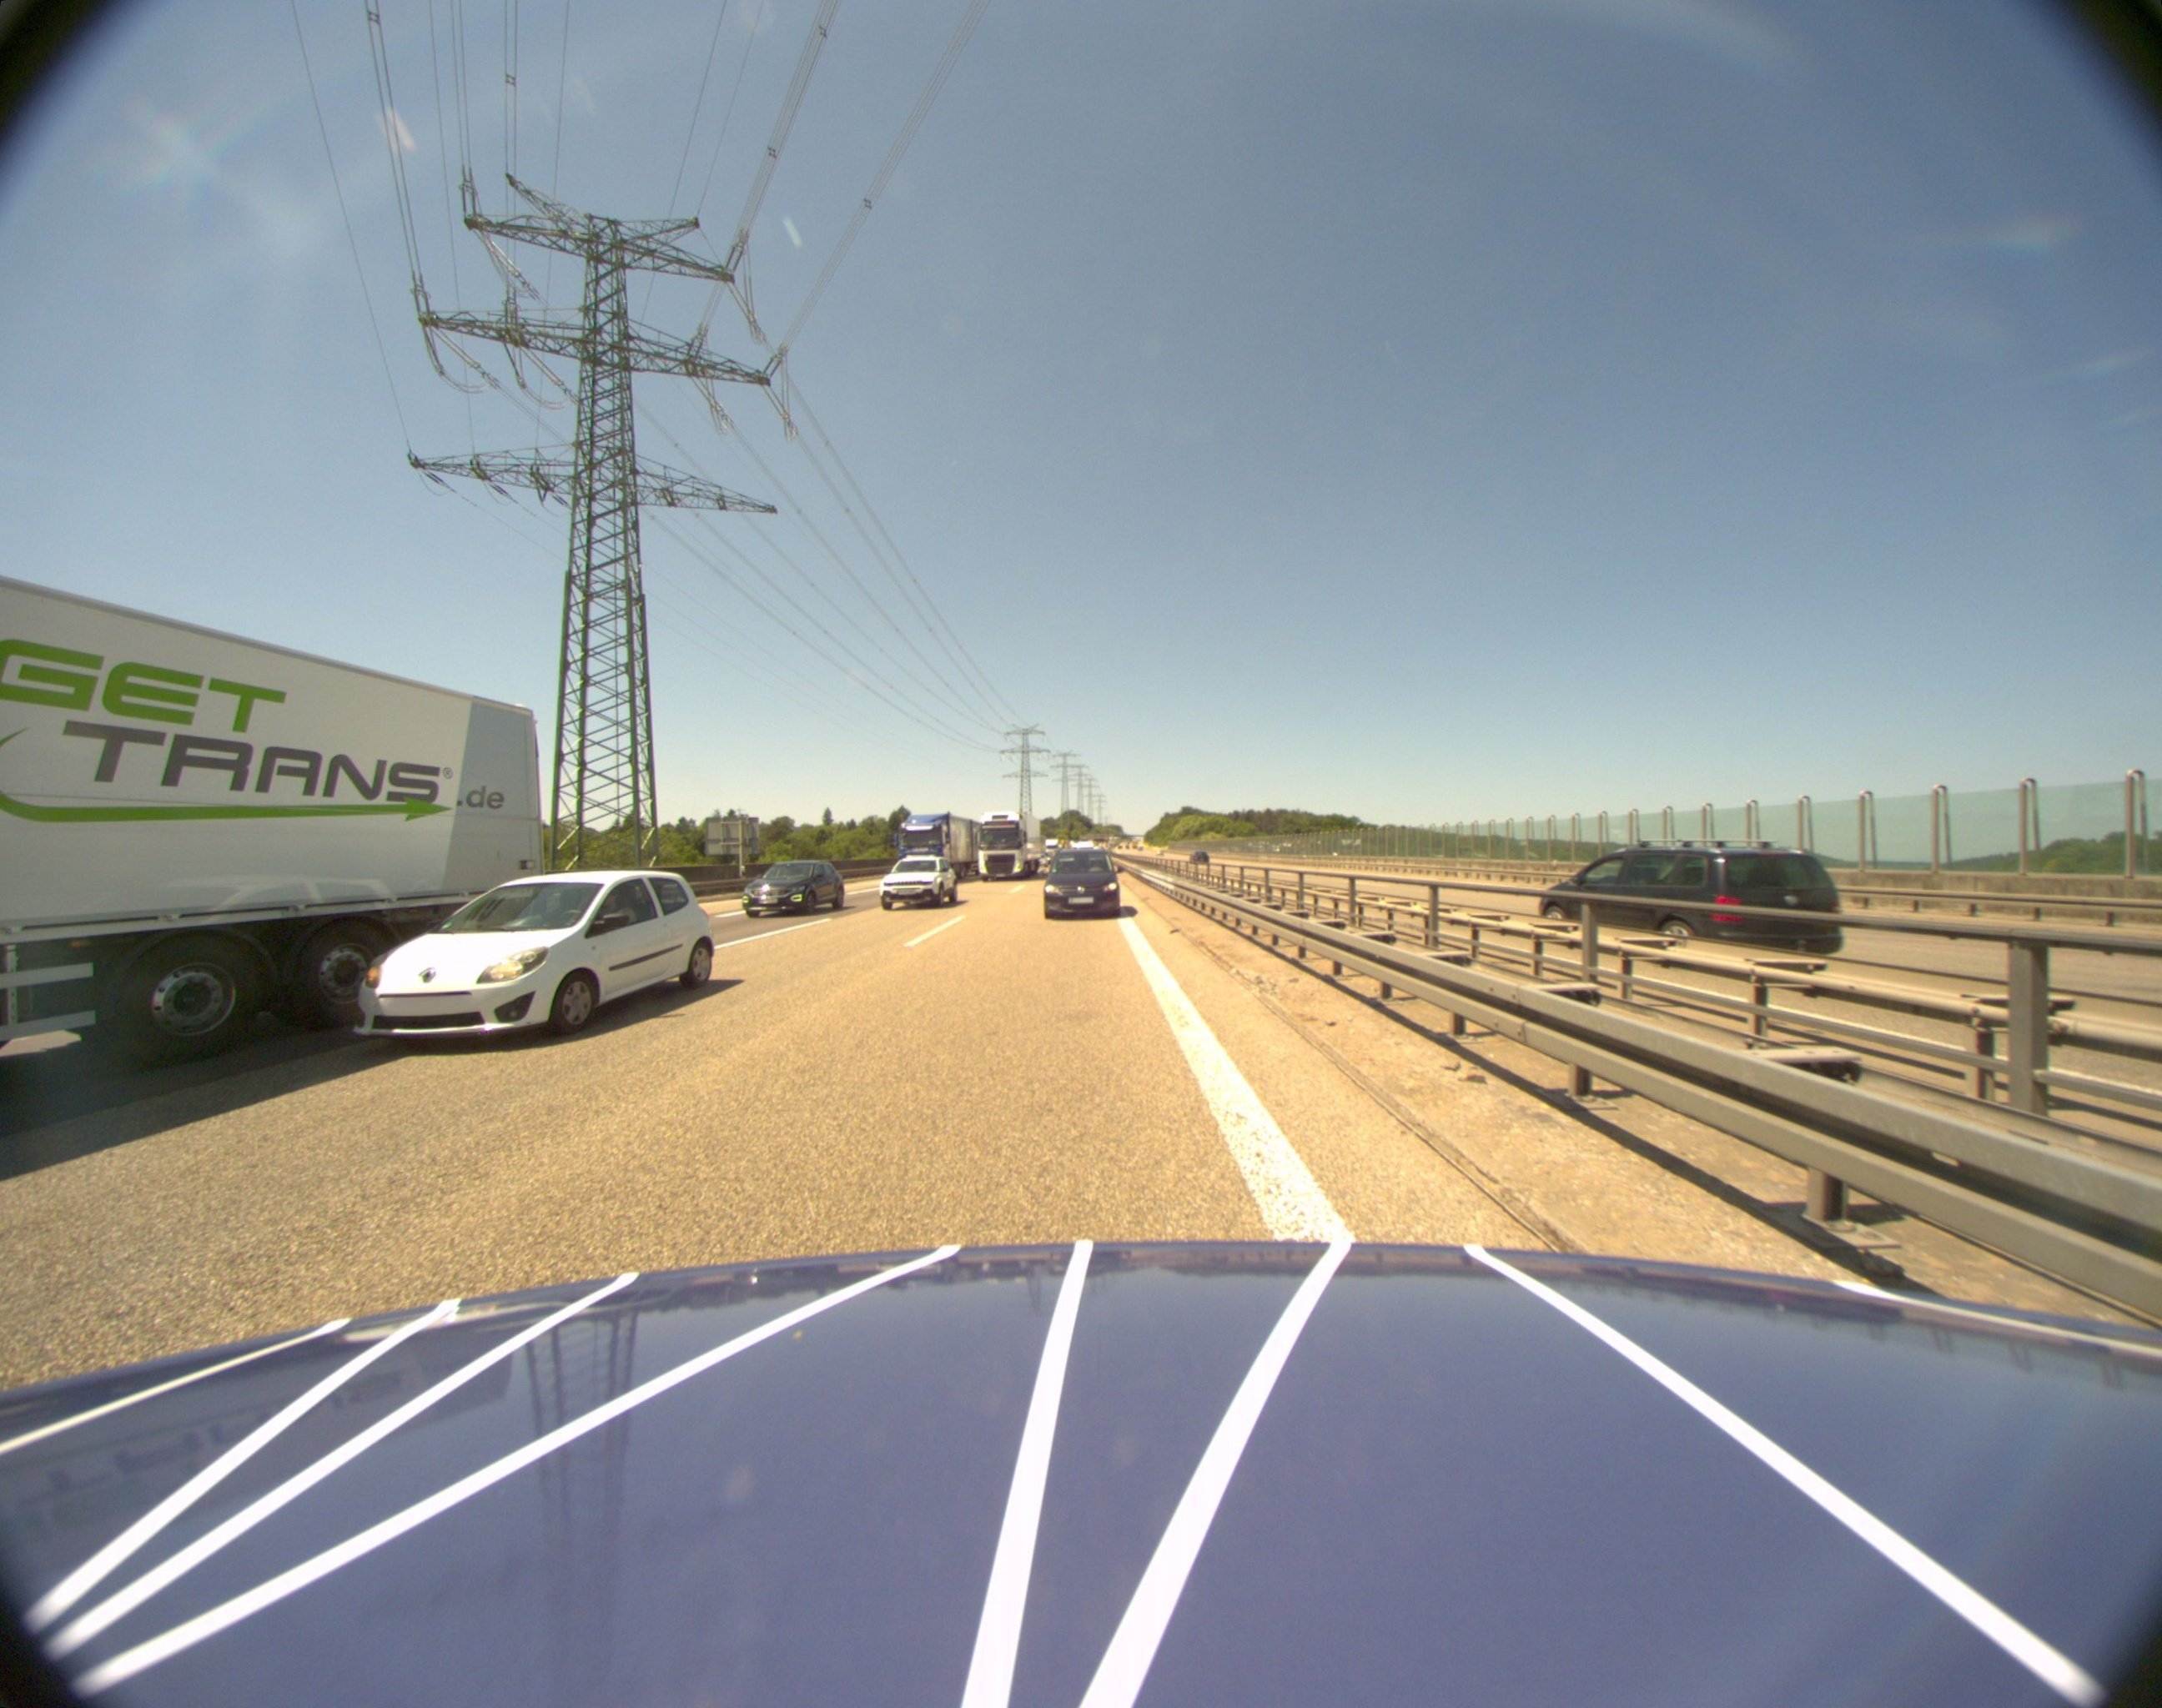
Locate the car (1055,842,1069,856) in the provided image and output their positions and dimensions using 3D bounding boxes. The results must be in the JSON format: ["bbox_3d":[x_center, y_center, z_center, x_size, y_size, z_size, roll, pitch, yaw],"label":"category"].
[{"bbox_3d":[-2.914,-0.843,117.560,1.998,2.002,3.999,-2,1,1],"label":"car"}]

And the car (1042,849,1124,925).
[{"bbox_3d":[0.047,0.718,18.632,1.739,1.607,3.911,-2,1,0],"label":"car"}]

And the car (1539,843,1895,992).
[{"bbox_3d":[8.849,0.766,11.143,1.759,1.711,4.101,-2,0,1],"label":"car"}]

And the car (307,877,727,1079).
[{"bbox_3d":[-5.376,1.056,7.924,1.583,1.432,3.629,-2,1,1],"label":"car"}]

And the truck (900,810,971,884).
[{"bbox_3d":[-8.523,-0.431,45.504,2.517,3.945,7.926,-2,1,1],"label":"truck"}]

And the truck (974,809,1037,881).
[{"bbox_3d":[-4.342,-0.567,45.387,2.914,3.870,6.739,-2,1,0],"label":"truck"}]

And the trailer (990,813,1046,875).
[{"bbox_3d":[-4.286,-0.731,53.657,2.898,3.847,9.772,-2,1,1],"label":"trailer"}]

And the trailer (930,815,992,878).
[{"bbox_3d":[-8.458,-0.581,54.917,2.543,3.971,10.883,-2,1,0],"label":"trailer"}]

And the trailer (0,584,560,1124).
[{"bbox_3d":[-8.591,0.031,6.202,2.852,3.574,8.290,-2,1,0],"label":"trailer"}]

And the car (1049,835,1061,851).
[{"bbox_3d":[-5.827,-2.456,167.965,2.273,3.304,6.287,-2,1,0],"label":"car"}]

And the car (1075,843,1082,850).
[{"bbox_3d":[-0.616,-2.170,211.068,1.782,2.002,3.999,0,1,0],"label":"car"}]

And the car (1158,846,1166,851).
[{"bbox_3d":[20.034,-1.369,188.247,1.608,1.386,3.676,1,1,1],"label":"car"}]

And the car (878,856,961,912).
[{"bbox_3d":[-4.951,0.870,23.747,1.722,1.526,3.753,-2,1,0],"label":"car"}]

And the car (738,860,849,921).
[{"bbox_3d":[-8.335,1.002,22.437,1.709,1.497,3.888,-2,1,1],"label":"car"}]

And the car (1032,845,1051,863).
[{"bbox_3d":[-4.054,-0.032,79.303,1.672,1.761,3.846,-2,1,1],"label":"car"}]

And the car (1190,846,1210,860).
[{"bbox_3d":[14.122,-0.110,90.175,1.784,1.560,4.386,1,1,2],"label":"car"}]

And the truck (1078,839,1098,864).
[{"bbox_3d":[0.851,-0.358,86.906,2.100,2.700,5.864,-2,1,1],"label":"truck"}]
